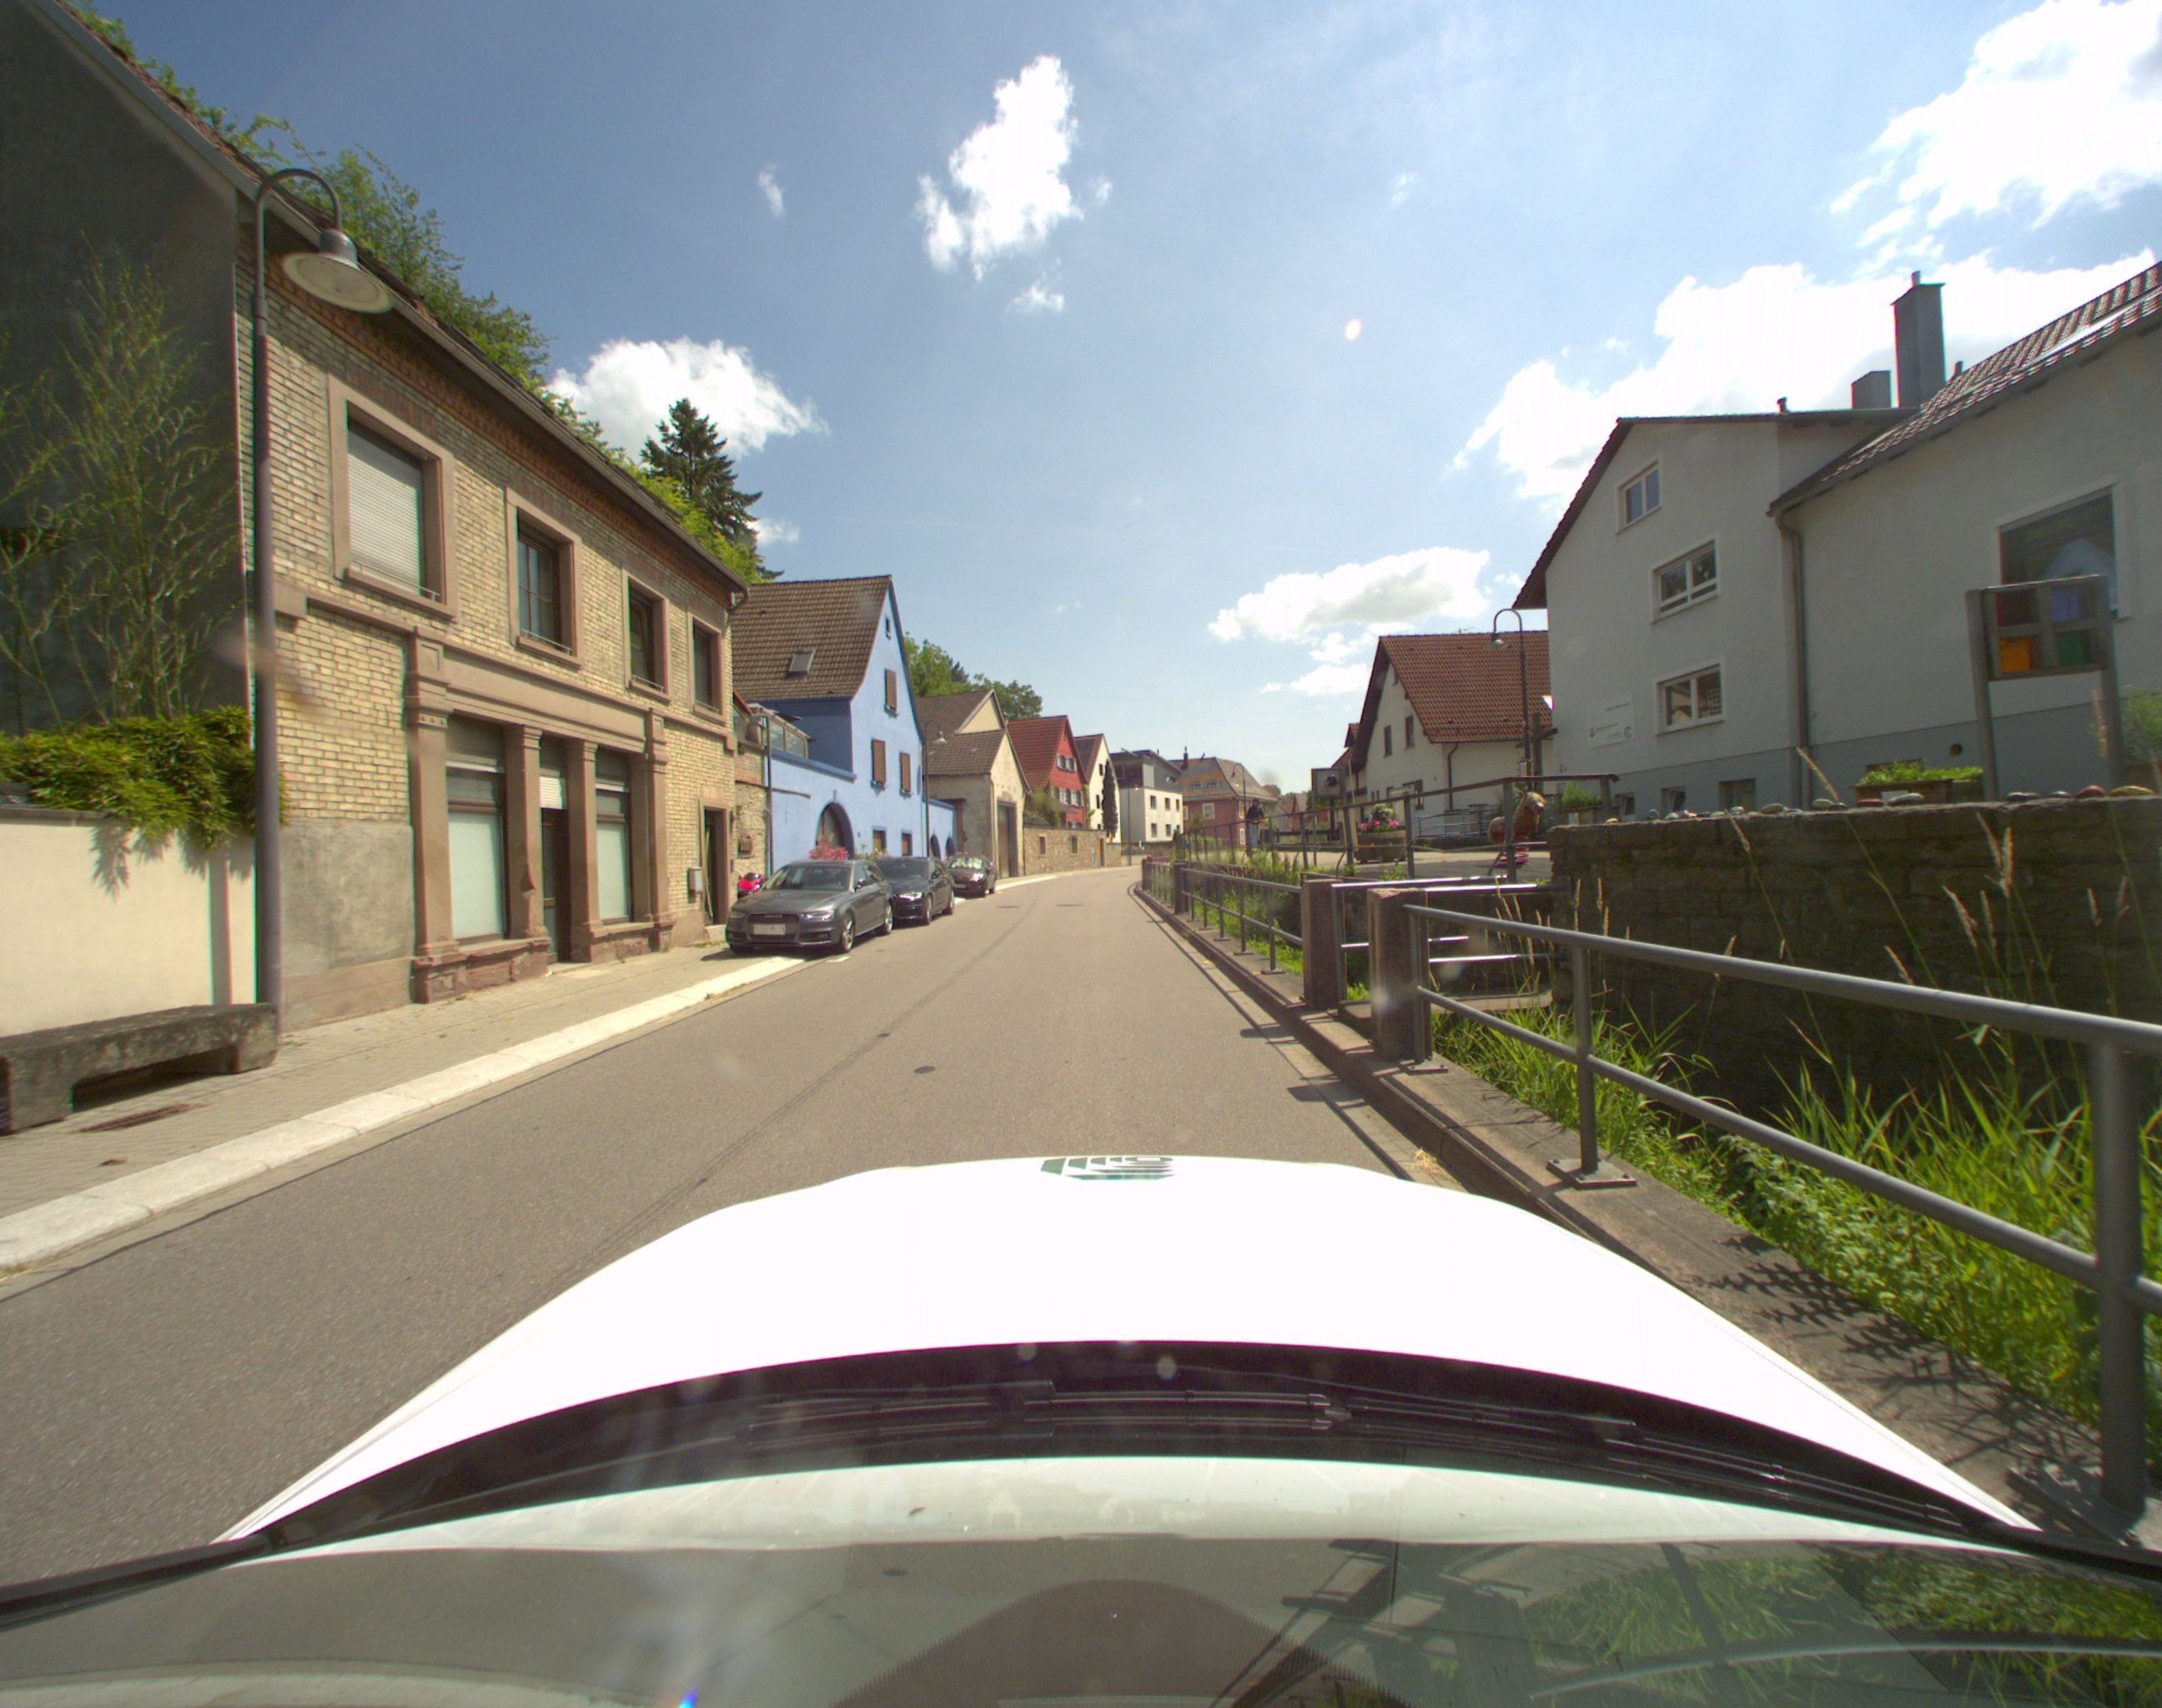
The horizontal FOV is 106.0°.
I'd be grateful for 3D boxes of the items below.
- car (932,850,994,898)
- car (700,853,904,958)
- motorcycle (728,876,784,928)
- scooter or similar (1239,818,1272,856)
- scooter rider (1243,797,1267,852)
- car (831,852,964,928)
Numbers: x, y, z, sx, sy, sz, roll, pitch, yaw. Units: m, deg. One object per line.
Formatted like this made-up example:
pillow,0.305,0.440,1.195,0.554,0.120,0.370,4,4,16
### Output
car,-4.181,0.717,29.348,1.713,1.530,3.853,-3,-1,-2
car,-4.532,0.768,14.069,1.951,1.465,4.544,-1,-1,-1
motorcycle,-6.840,0.985,17.198,0.416,1.001,1.857,3,-1,-1
scooter or similar,5.621,-0.535,26.296,0.639,1.142,1.812,-3,0,1
scooter rider,5.586,-0.929,26.163,0.639,1.732,0.554,-1,-1,1
car,-4.085,0.733,18.961,1.878,1.464,4.670,1,1,2
